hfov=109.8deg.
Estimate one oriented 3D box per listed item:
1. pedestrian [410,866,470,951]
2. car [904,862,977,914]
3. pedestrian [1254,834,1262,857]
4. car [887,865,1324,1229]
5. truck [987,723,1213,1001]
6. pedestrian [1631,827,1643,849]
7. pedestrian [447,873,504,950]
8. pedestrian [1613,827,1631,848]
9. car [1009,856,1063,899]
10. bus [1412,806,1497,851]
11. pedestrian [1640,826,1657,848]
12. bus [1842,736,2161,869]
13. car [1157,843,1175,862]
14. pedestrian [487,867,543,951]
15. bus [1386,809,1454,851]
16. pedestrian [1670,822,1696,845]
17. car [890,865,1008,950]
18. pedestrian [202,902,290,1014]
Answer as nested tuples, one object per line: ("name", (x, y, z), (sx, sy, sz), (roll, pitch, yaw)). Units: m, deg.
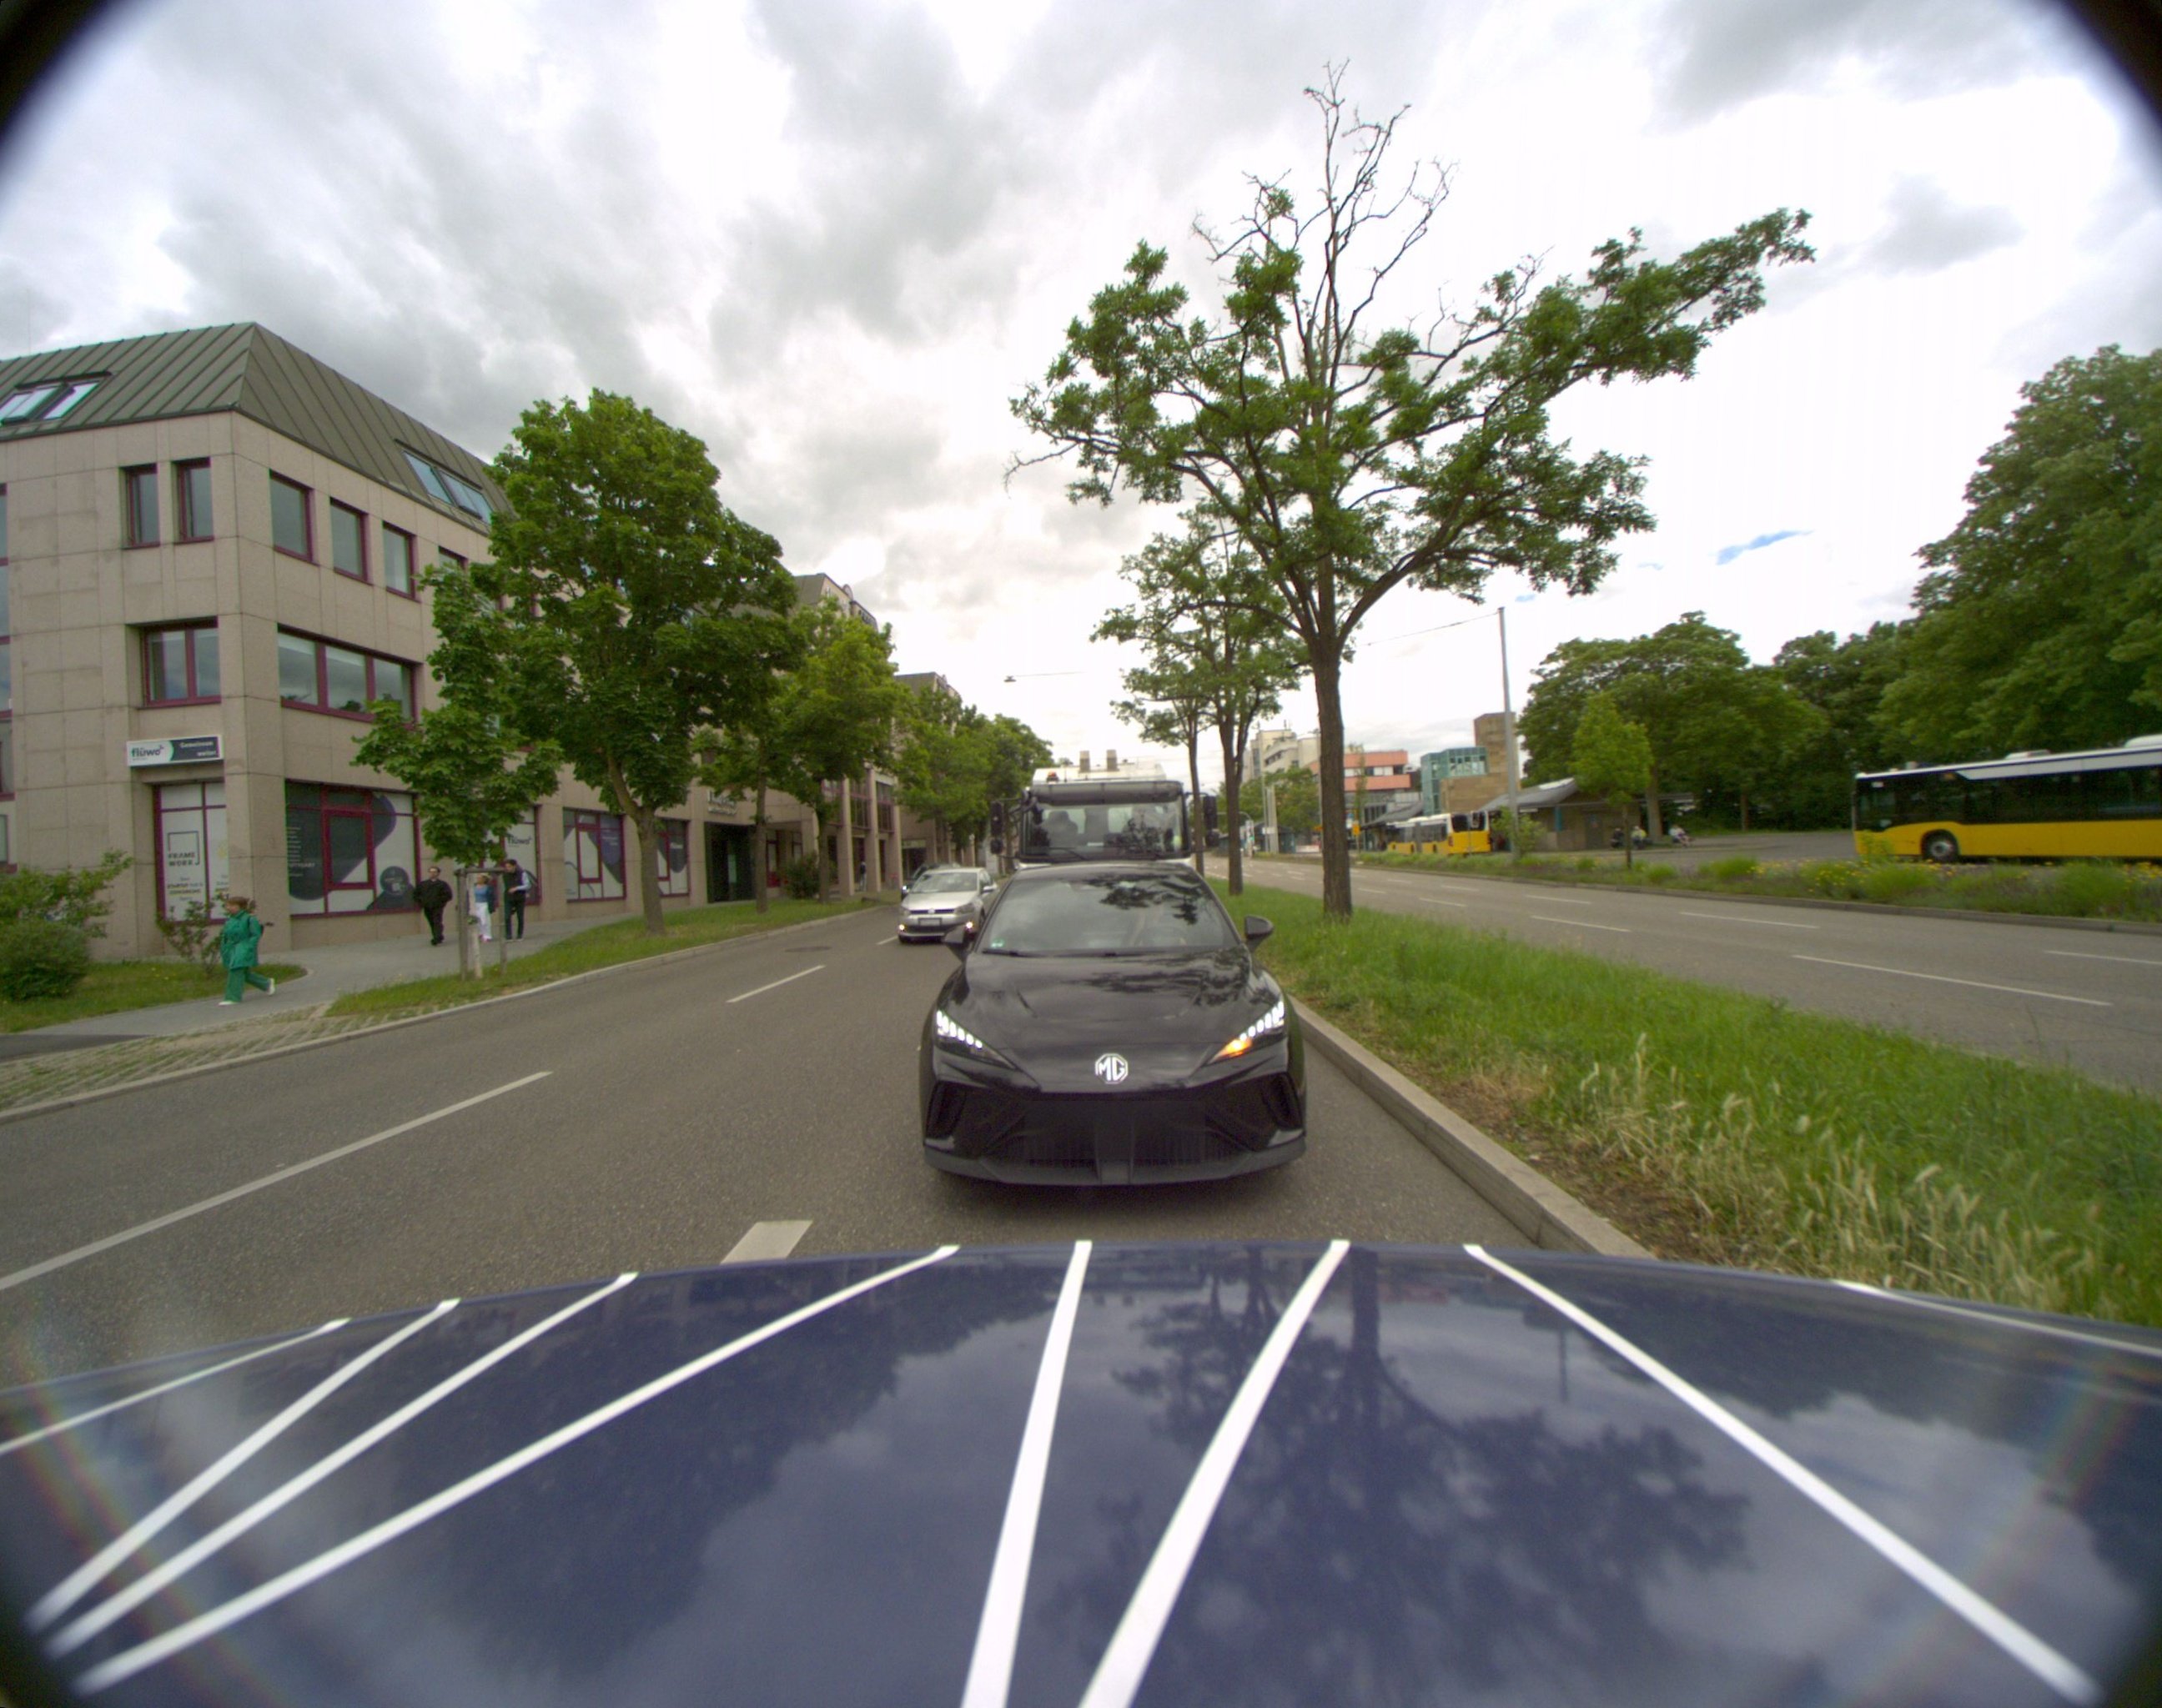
("pedestrian", (-14.085, 1.176, 16.708), (0.642, 1.795, 0.677), (-3, 1, 1))
("car", (-4.706, 1.097, 26.021), (1.661, 1.504, 3.999), (-2, 1, 1))
("pedestrian", (21.577, -1.030, 92.724), (0.903, 2.772, 1.148), (-2, 1, 13))
("car", (0.133, 0.865, 5.283), (1.827, 1.430, 4.000), (-3, 0, 1))
("truck", (0.342, 0.090, 12.714), (2.544, 3.187, 7.369), (-3, 0, 2))
("pedestrian", (30.228, -0.892, 41.298), (0.367, 1.160, 0.899), (-2, 1, 26))
("pedestrian", (-13.389, 1.258, 16.817), (0.642, 1.637, 0.677), (-3, 1, 1))
("pedestrian", (30.737, -0.932, 43.172), (0.599, 1.155, 0.743), (-2, 1, 16))
("car", (-1.803, 0.898, 31.518), (1.859, 1.586, 4.313), (-2, 0, 1))
("bus", (26.045, -1.686, 53.524), (2.887, 2.793, 9.182), (-3, 0, 10))
("pedestrian", (30.666, -0.906, 41.043), (0.598, 1.155, 0.744), (-2, 1, 26))
("bus", (25.941, -1.238, 19.616), (2.888, 2.985, 10.397), (-3, 0, 6))
("car", (9.466, -0.158, 84.910), (1.726, 2.002, 4.001), (-3, 0, 3))
("pedestrian", (-12.589, 1.202, 16.926), (0.642, 1.795, 0.677), (-3, 1, 1))
("bus", (27.597, -1.868, 62.297), (2.887, 2.985, 9.182), (-3, 0, 10))
("pedestrian", (31.971, -1.084, 40.356), (0.650, 1.165, 0.925), (-2, 1, 1))
("car", (-2.653, 1.035, 16.062), (1.609, 1.460, 3.676), (-3, 0, 3))
("pedestrian", (-11.932, 1.469, 10.877), (0.496, 1.510, 0.677), (0, 1, 1))
